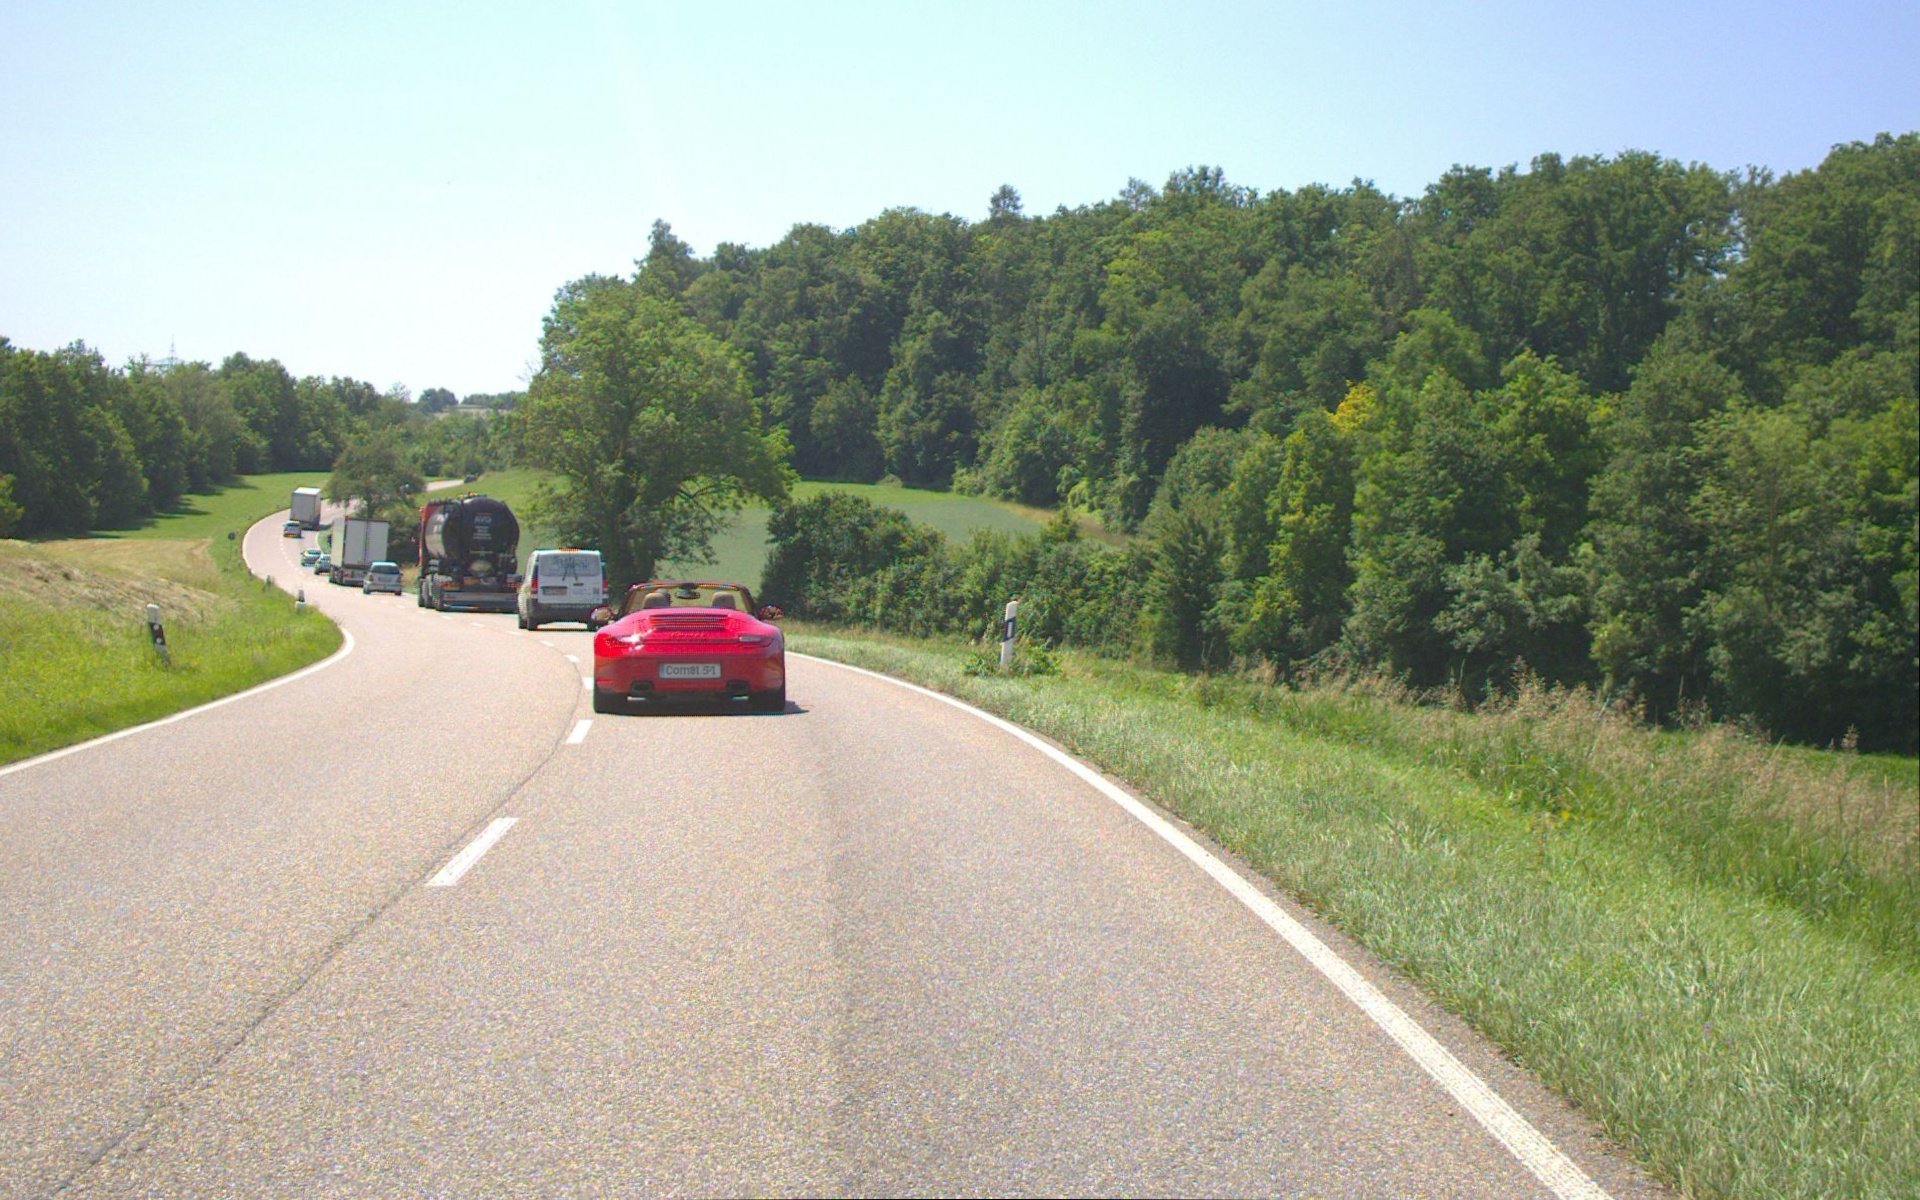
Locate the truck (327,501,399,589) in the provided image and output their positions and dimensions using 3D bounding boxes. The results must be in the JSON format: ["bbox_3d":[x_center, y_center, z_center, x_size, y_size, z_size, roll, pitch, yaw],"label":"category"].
[{"bbox_3d":[-35.336,-3.322,203.157,3.724,4.644,12.036,1,3,-12],"label":"truck"}]

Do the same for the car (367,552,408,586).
[{"bbox_3d":[-27.364,-1.478,164.202,1.722,1.579,4.161,1,1,-12],"label":"car"}]

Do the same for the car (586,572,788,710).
[{"bbox_3d":[-2.760,0.371,34.338,1.882,1.251,4.010,0,1,-6],"label":"car"}]

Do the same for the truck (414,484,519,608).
[{"bbox_3d":[-17.104,-1.843,118.543,2.403,4.036,12.554,1,1,-13],"label":"truck"}]

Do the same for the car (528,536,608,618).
[{"bbox_3d":[-9.336,-0.568,81.695,1.678,1.894,4.010,0,1,-10],"label":"car"}]
